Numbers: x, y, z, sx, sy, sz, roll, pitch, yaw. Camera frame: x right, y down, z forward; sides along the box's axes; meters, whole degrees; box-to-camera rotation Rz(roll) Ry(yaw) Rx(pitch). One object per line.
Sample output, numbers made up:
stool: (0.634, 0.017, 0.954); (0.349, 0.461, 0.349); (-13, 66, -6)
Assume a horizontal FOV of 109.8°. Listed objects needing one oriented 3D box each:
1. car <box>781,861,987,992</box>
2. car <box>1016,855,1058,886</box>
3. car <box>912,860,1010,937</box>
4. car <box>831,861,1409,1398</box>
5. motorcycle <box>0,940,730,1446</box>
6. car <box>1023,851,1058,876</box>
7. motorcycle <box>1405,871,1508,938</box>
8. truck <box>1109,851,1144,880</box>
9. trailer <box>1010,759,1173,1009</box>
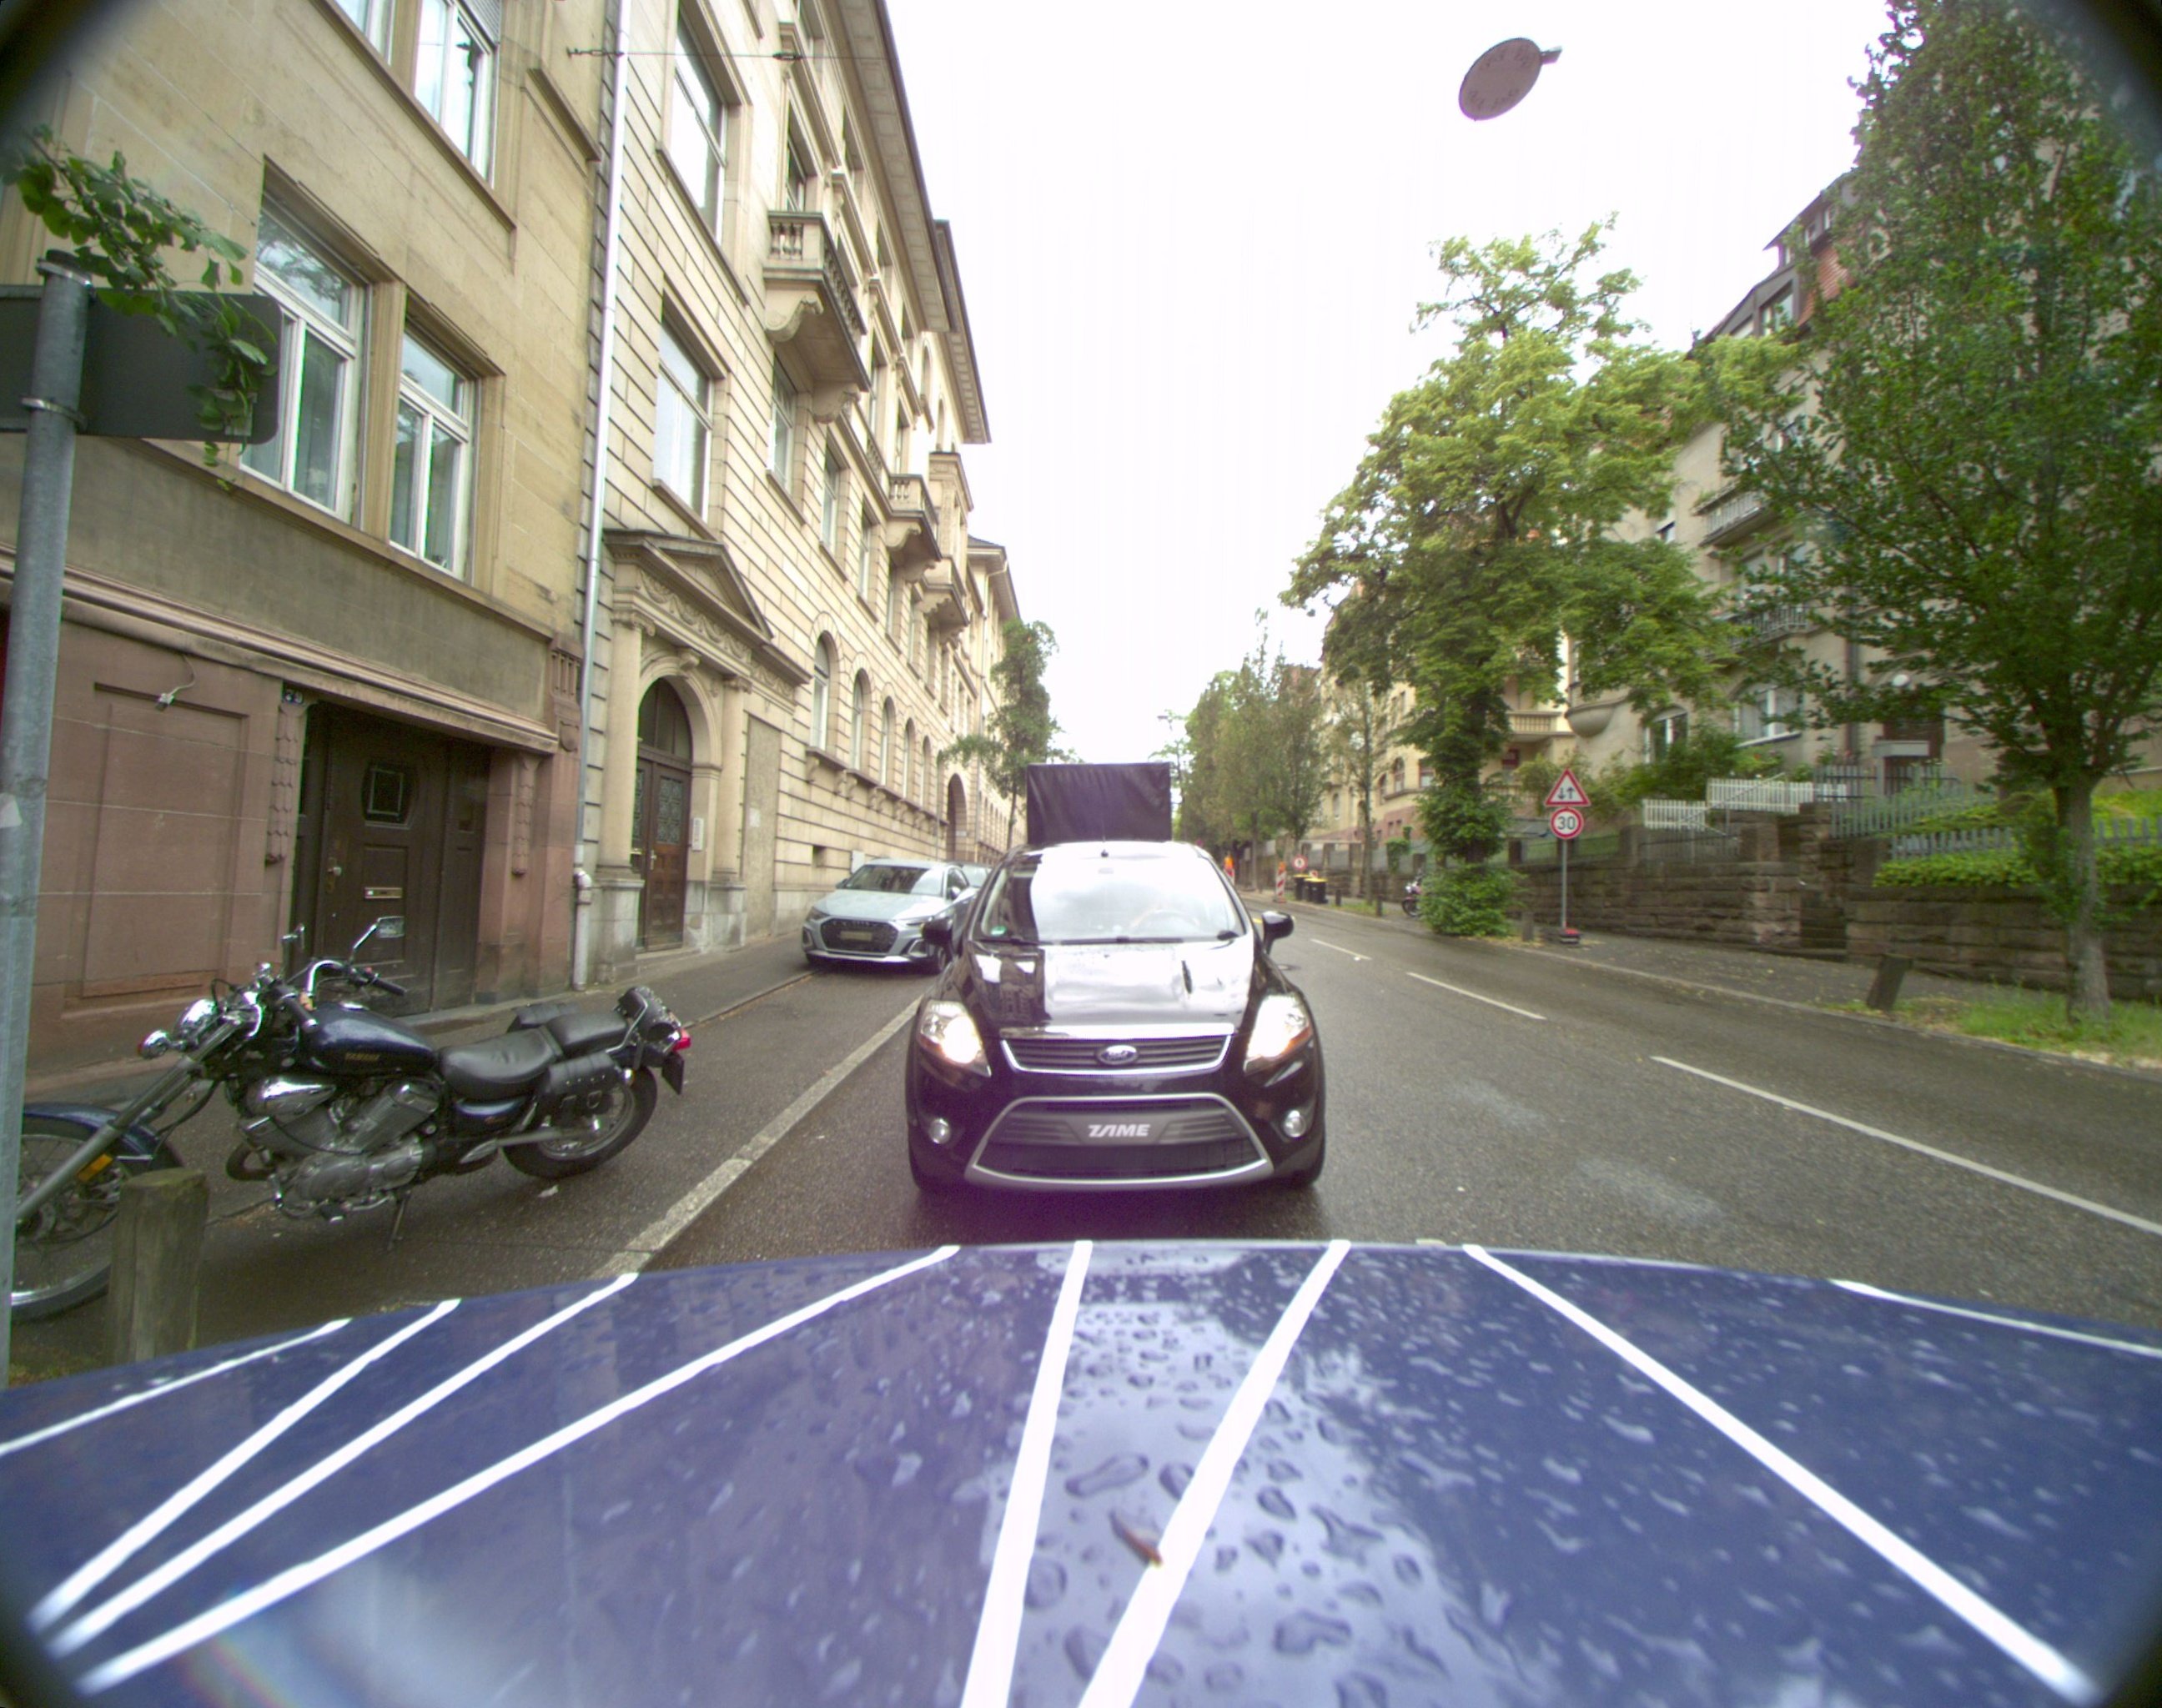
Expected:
car: (-2.608, 0.881, 11.113); (1.794, 1.444, 4.039); (3, 0, 1)
car: (-2.404, 0.888, 42.453); (1.910, 1.502, 4.318); (3, 0, 1)
car: (-2.539, 0.893, 16.684); (1.495, 1.440, 3.181); (3, 0, 1)
car: (0.177, 0.891, 4.665); (1.823, 1.662, 4.522); (0, 0, 1)
motorcycle: (-2.579, 0.997, 2.780); (0.523, 1.236, 2.282); (3, -1, 39)
car: (-2.610, 0.604, 50.495); (1.910, 1.502, 4.318); (3, 0, 1)
motorcycle: (8.889, 1.143, 18.192); (0.802, 1.406, 3.061); (-2, 0, -2)
truck: (3.079, 0.771, 51.923); (2.075, 1.825, 5.154); (2, 0, 1)
trailer: (0.120, 0.315, 10.786); (1.783, 2.744, 4.816); (0, 1, 0)
